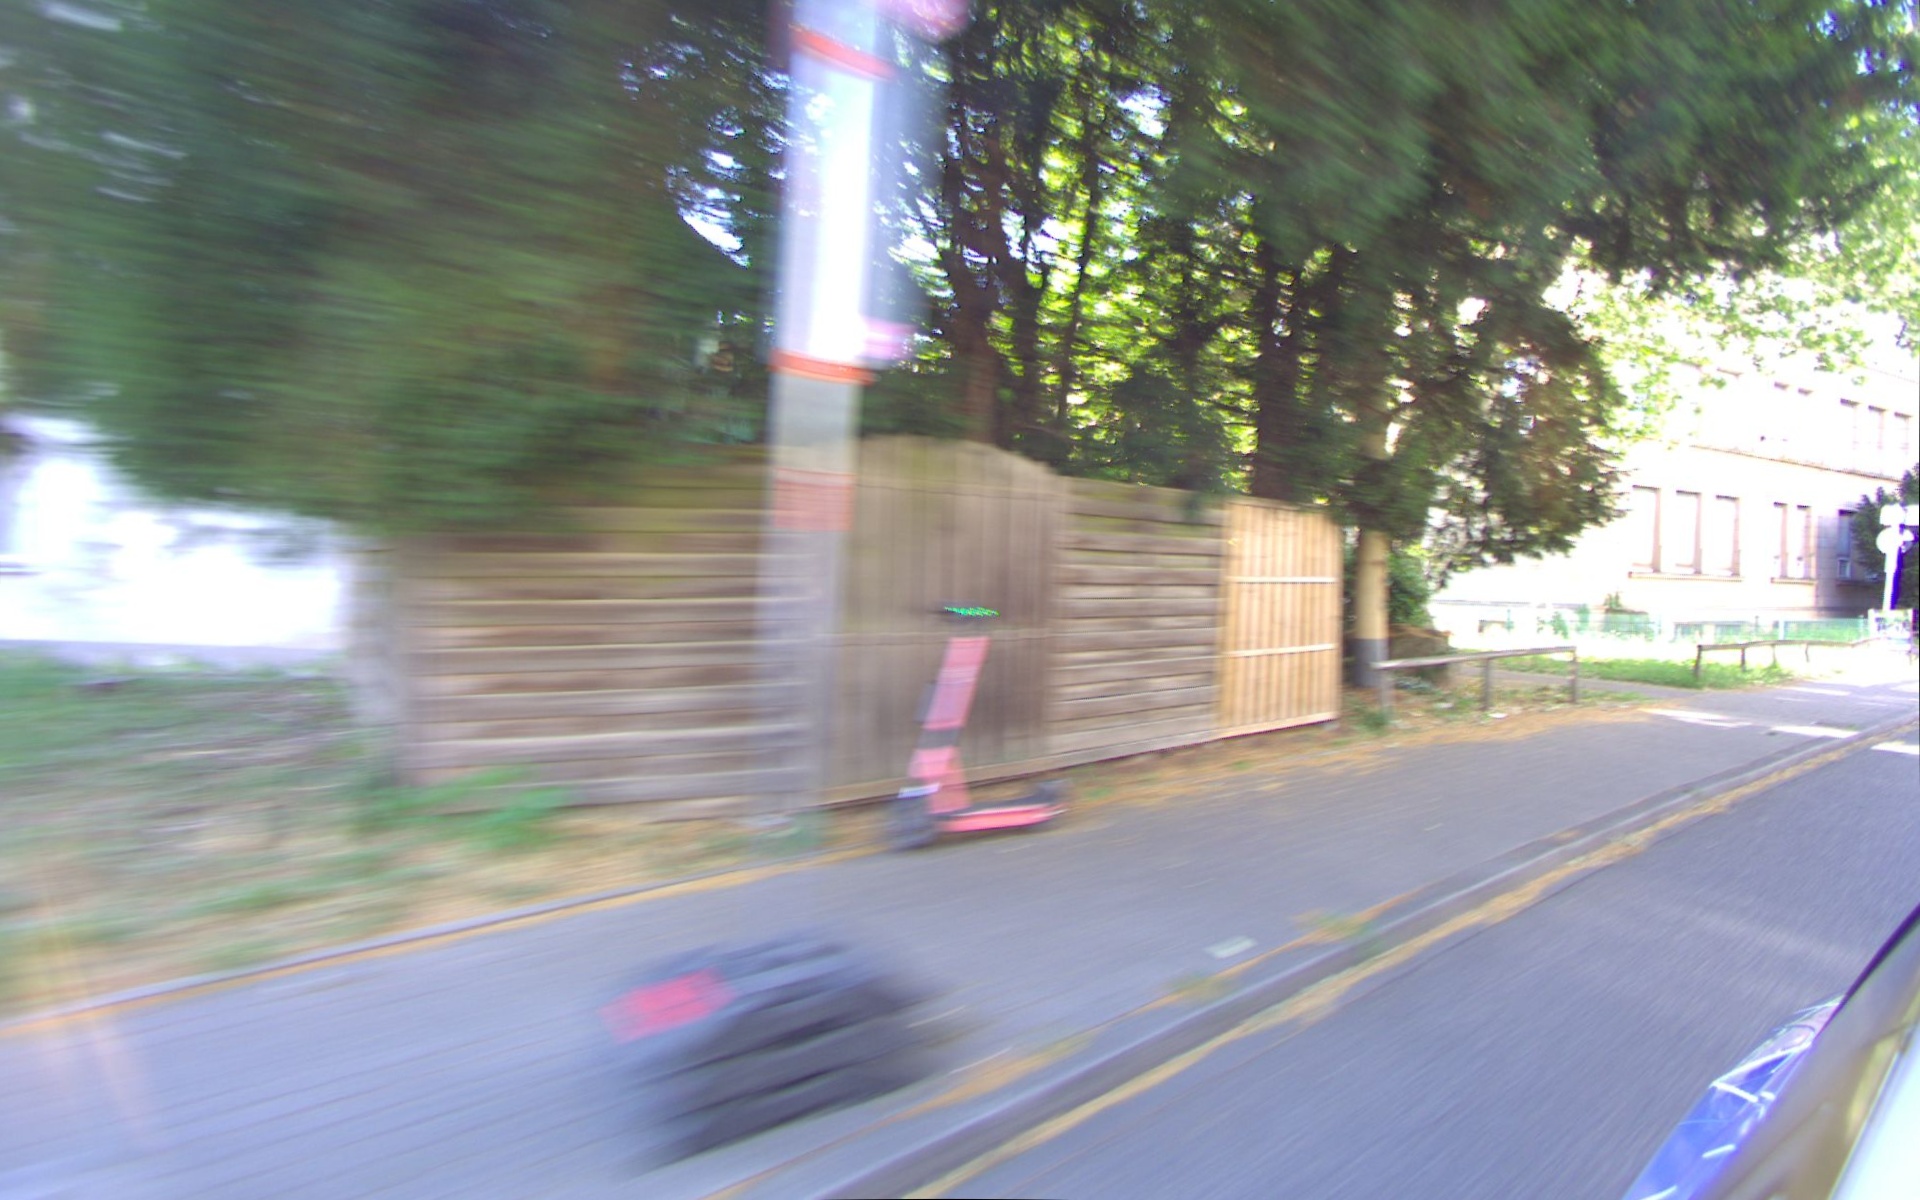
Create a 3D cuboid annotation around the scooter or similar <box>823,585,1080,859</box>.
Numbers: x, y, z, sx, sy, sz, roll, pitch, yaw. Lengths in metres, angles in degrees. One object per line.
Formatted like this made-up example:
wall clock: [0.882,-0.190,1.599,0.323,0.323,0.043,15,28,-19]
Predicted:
scooter or similar: [-0.020,0.556,5.127,1.235,1.216,0.439,1,3,-38]
